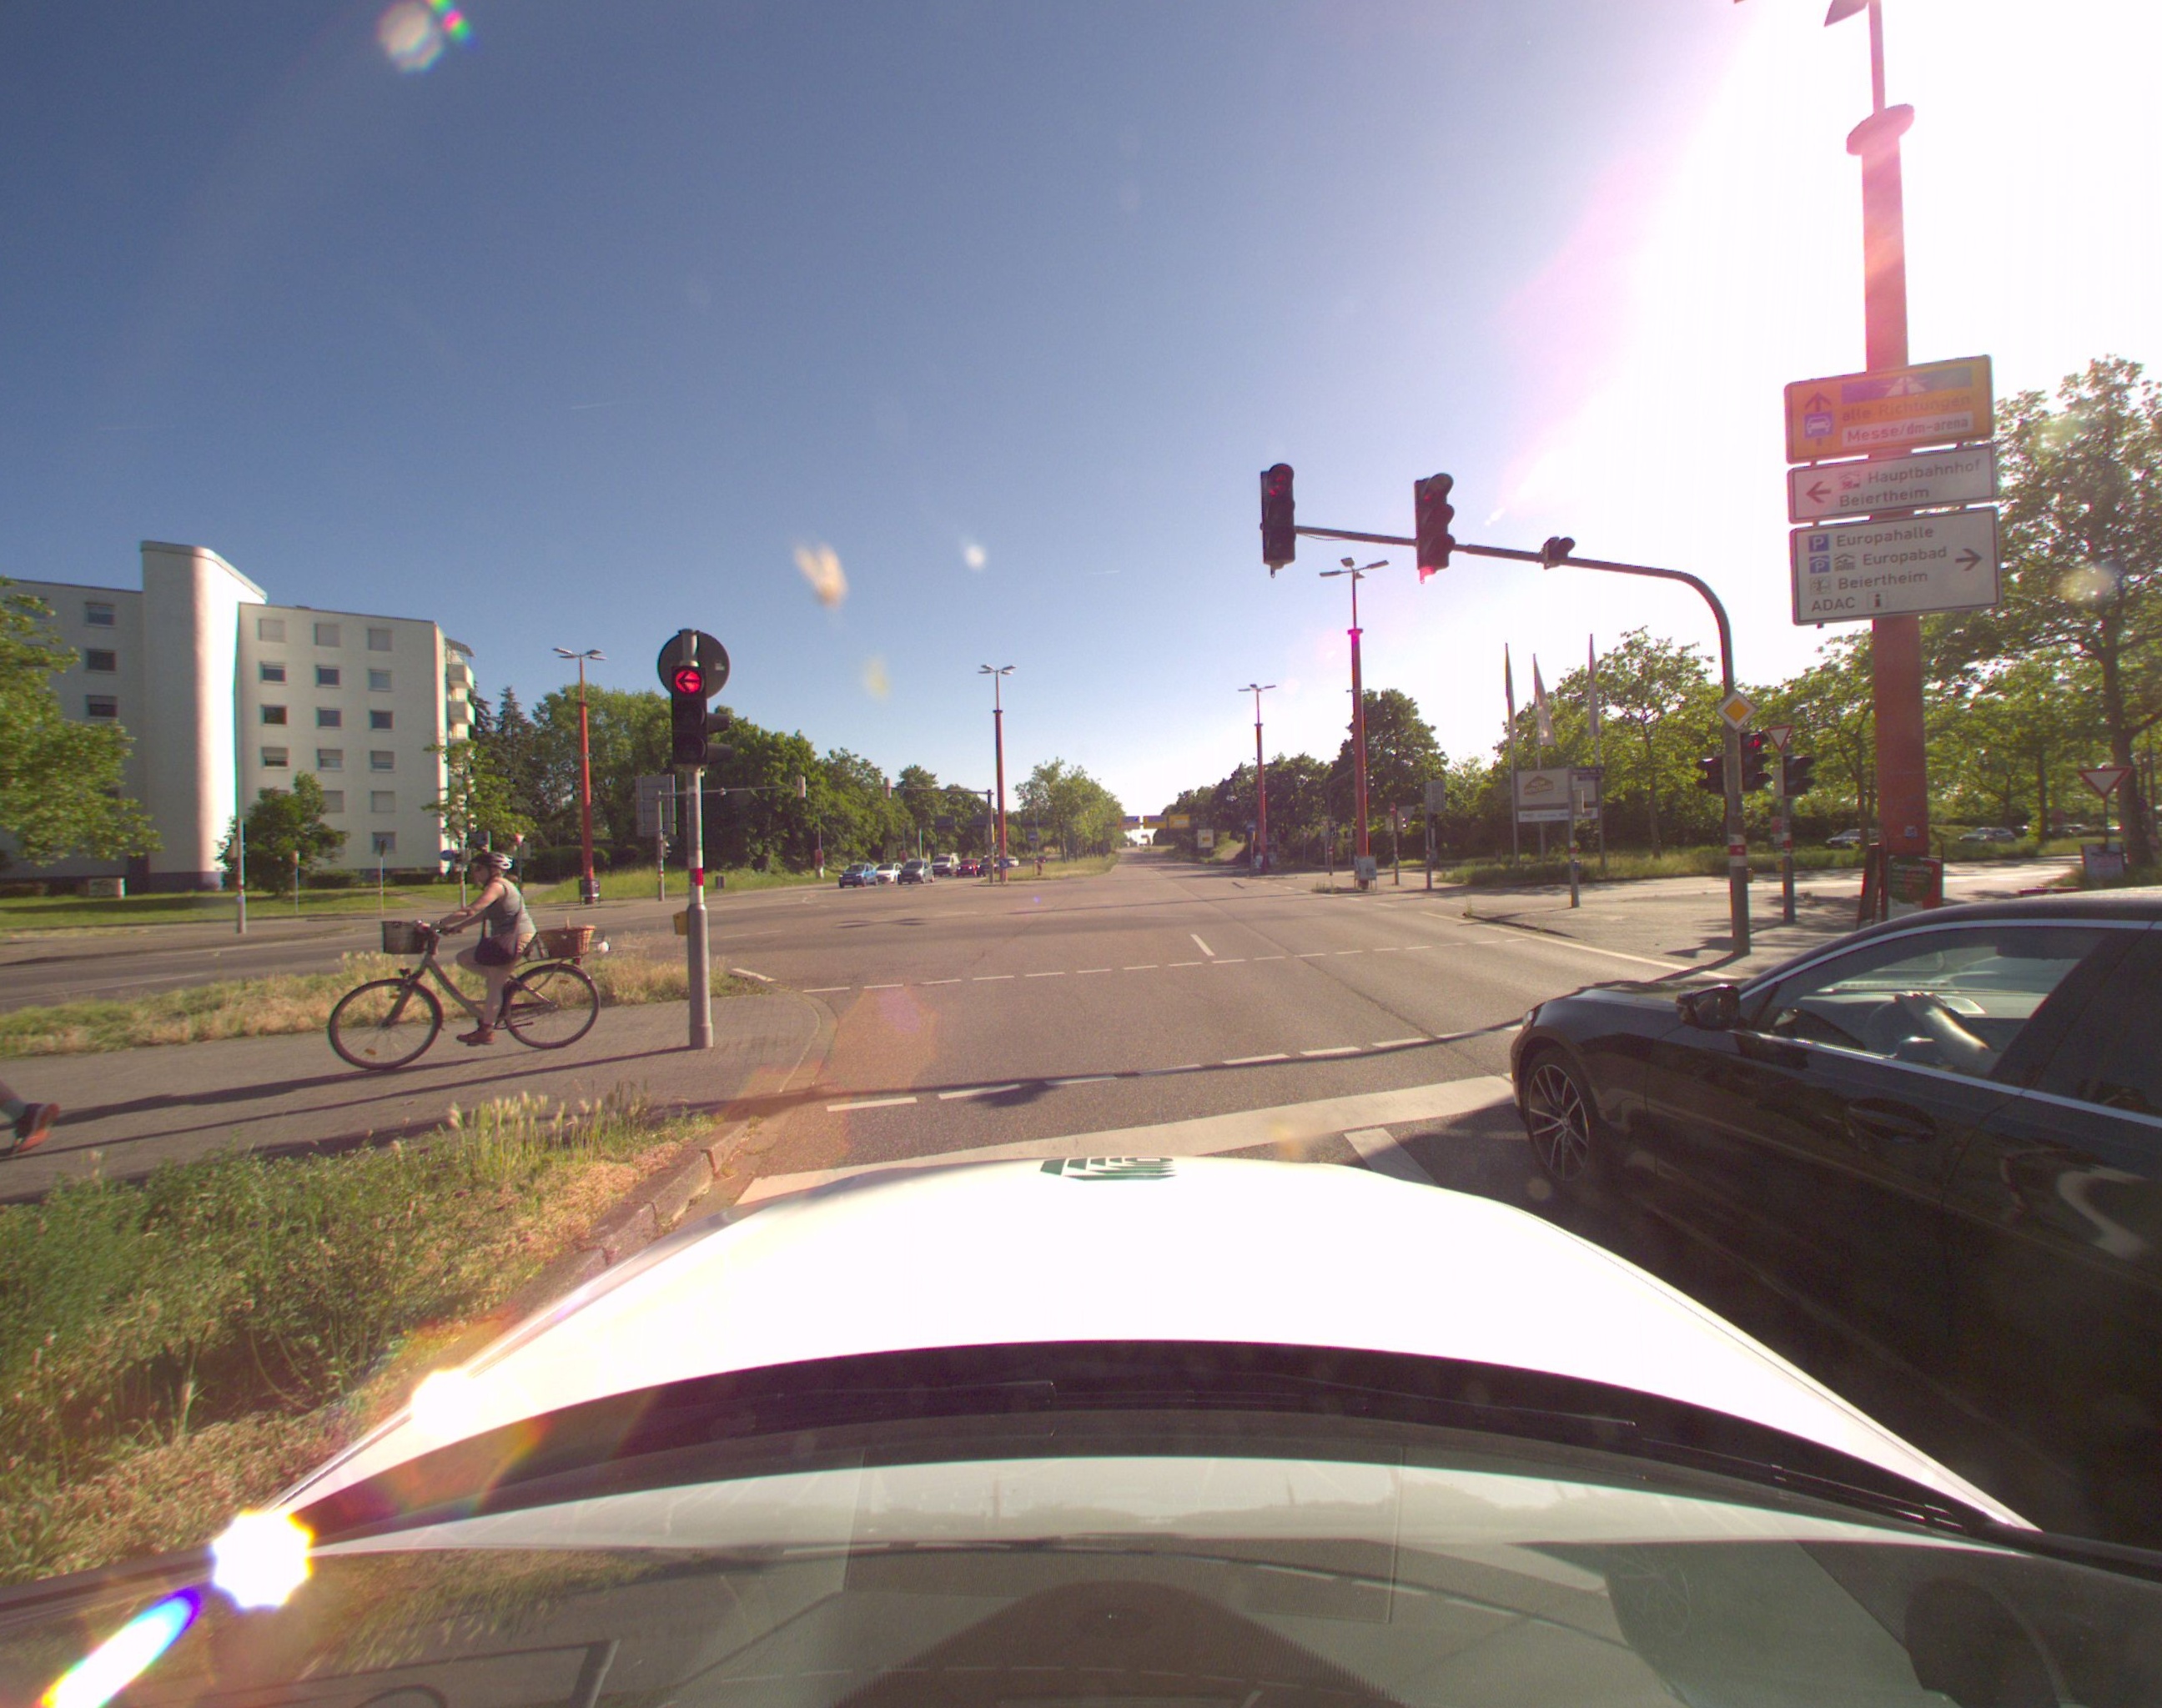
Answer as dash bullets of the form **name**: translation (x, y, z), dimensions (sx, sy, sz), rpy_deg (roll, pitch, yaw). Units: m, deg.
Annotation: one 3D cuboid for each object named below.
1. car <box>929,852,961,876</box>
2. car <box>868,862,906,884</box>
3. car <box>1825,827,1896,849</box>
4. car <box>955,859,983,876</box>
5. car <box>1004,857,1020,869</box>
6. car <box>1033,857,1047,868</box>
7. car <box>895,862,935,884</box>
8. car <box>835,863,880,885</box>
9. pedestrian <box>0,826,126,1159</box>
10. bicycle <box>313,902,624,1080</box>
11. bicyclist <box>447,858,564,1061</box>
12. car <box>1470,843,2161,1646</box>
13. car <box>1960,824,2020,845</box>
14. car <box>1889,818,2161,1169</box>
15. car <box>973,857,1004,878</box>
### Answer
- **car**: translation (-12.323, 0.904, 74.171), dimensions (1.886, 2.026, 5.224), rpy_deg (-2, 0, 1)
- **car**: translation (-13.668, 1.321, 57.536), dimensions (1.733, 1.411, 3.613), rpy_deg (-2, 0, 1)
- **car**: translation (57.670, -1.155, 60.300), dimensions (4.322, 1.485, 1.777), rpy_deg (-2, 0, -14)
- **car**: translation (-9.393, 1.099, 68.382), dimensions (1.733, 1.362, 3.613), rpy_deg (-2, 0, 1)
- **car**: translation (-10.022, 1.316, 118.314), dimensions (1.791, 1.640, 4.002), rpy_deg (-2, 0, 2)
- **car**: translation (-6.382, 1.343, 127.820), dimensions (1.812, 1.629, 4.002), rpy_deg (-2, 0, 2)
- **car**: translation (-10.601, 1.191, 52.314), dimensions (1.733, 1.243, 3.613), rpy_deg (-2, 0, 1)
- **car**: translation (-14.085, 1.214, 51.427), dimensions (1.733, 1.243, 3.613), rpy_deg (-2, 0, 1)
- **pedestrian**: translation (-6.438, 0.764, 4.596), dimensions (0.988, 1.794, 0.948), rpy_deg (-1, 0, -20)
- **bicycle**: translation (-4.977, 1.060, 6.804), dimensions (1.952, 1.195, 0.686), rpy_deg (-2, 0, -26)
- **bicyclist**: translation (-4.834, 0.837, 6.882), dimensions (0.664, 1.584, 0.667), rpy_deg (-2, 0, -26)
- **car**: translation (2.872, 0.689, 2.005), dimensions (1.862, 1.398, 4.446), rpy_deg (-2, 0, 3)
- **car**: translation (71.367, -1.538, 63.926), dimensions (3.993, 1.467, 1.673), rpy_deg (-2, 0, -18)
- **car**: translation (5.673, 0.602, 2.870), dimensions (1.732, 1.578, 4.032), rpy_deg (-2, 0, 3)
- **car**: translation (-7.211, 1.024, 64.052), dimensions (1.812, 1.508, 4.002), rpy_deg (-2, 0, 2)
